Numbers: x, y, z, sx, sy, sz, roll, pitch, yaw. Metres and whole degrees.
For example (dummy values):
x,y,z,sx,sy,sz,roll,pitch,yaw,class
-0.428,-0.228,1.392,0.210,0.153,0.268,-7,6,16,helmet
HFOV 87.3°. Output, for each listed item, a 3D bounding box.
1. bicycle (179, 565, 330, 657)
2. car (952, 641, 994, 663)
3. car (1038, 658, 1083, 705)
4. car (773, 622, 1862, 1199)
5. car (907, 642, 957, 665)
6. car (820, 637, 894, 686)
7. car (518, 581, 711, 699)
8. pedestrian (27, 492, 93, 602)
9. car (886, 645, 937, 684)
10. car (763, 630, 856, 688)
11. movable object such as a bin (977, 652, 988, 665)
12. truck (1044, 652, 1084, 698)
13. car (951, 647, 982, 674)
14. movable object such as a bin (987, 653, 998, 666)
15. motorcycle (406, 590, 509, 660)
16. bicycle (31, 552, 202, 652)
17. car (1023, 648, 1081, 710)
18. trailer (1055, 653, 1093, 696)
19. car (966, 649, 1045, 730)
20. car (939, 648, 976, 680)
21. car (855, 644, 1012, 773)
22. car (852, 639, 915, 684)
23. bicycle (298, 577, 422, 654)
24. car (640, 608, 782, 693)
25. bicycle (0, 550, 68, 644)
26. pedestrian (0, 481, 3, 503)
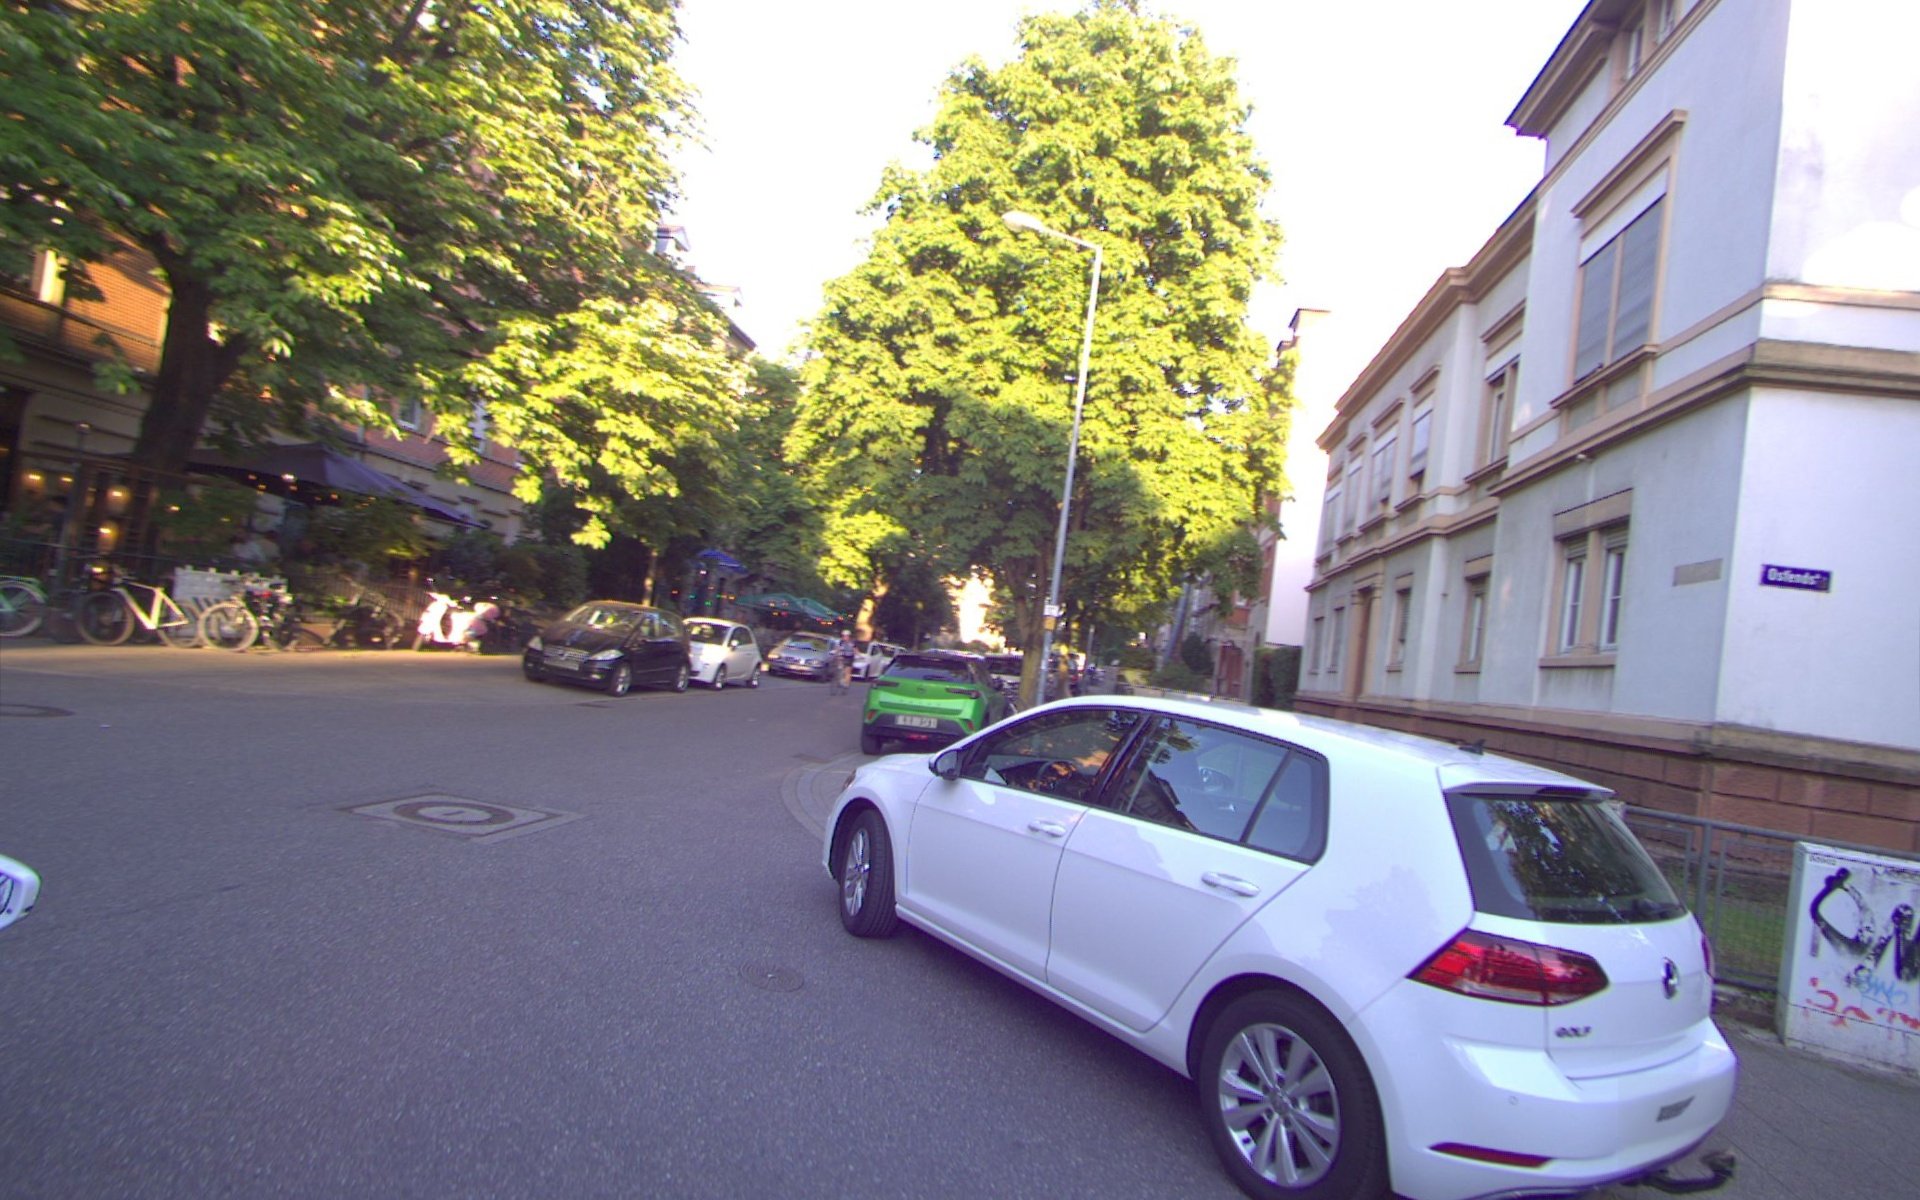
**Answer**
x,y,z,sx,sy,sz,roll,pitch,yaw,class
-10.607,0.207,15.221,0.385,1.198,1.960,10,-2,13,bicycle
1.392,5.460,106.273,4.030,1.544,1.712,11,-2,8,car
4.831,3.807,47.933,1.809,1.965,4.620,5,-2,8,car
0.929,1.103,4.432,1.797,1.518,4.135,9,-2,-34,car
-2.563,4.873,91.613,4.029,1.464,1.710,8,-1,18,car
-3.775,2.298,37.478,1.578,1.451,3.891,10,-2,10,car
-6.248,0.779,18.722,1.638,1.696,3.852,10,-2,7,car
-12.634,-0.728,14.135,0.424,1.468,0.461,7,0,-22,pedestrian
-2.155,2.906,45.663,1.527,1.502,3.699,7,-2,8,car
-4.712,1.863,32.177,1.812,1.427,4.605,10,-2,4,car
2.807,7.173,124.041,1.081,1.430,1.004,10,-1,-4,movable object such as a bin
5.747,4.083,55.770,1.923,2.272,4.650,5,-2,6,truck
0.470,4.021,66.743,1.527,1.497,3.698,10,-2,6,car
4.026,7.331,124.004,0.997,1.336,1.006,9,-1,14,movable object such as a bin
-9.893,0.519,19.896,0.385,1.198,1.959,9,-2,19,motorcycle
-11.184,0.065,13.422,0.385,1.157,1.749,7,-2,13,bicycle
3.569,2.992,39.063,1.923,2.083,4.836,5,-2,6,car
6.982,4.504,61.287,1.923,2.322,4.652,5,-3,9,trailer
1.209,2.139,24.999,1.637,1.698,4.125,5,-2,6,car
-0.128,3.861,60.800,1.664,1.580,4.407,10,-2,5,car
-0.261,1.576,15.566,1.703,1.575,3.967,5,-2,8,car
-3.131,2.574,41.817,1.527,1.502,3.699,10,-2,11,car
-10.652,0.313,17.955,0.385,1.156,1.960,9,-3,19,bicycle
-5.550,1.164,22.915,1.638,1.509,3.715,10,-2,8,car
-12.384,-0.109,12.491,1.809,1.111,0.389,8,-1,-29,bicycle
-14.390,-1.017,14.547,0.517,1.538,0.461,7,0,-22,pedestrian
